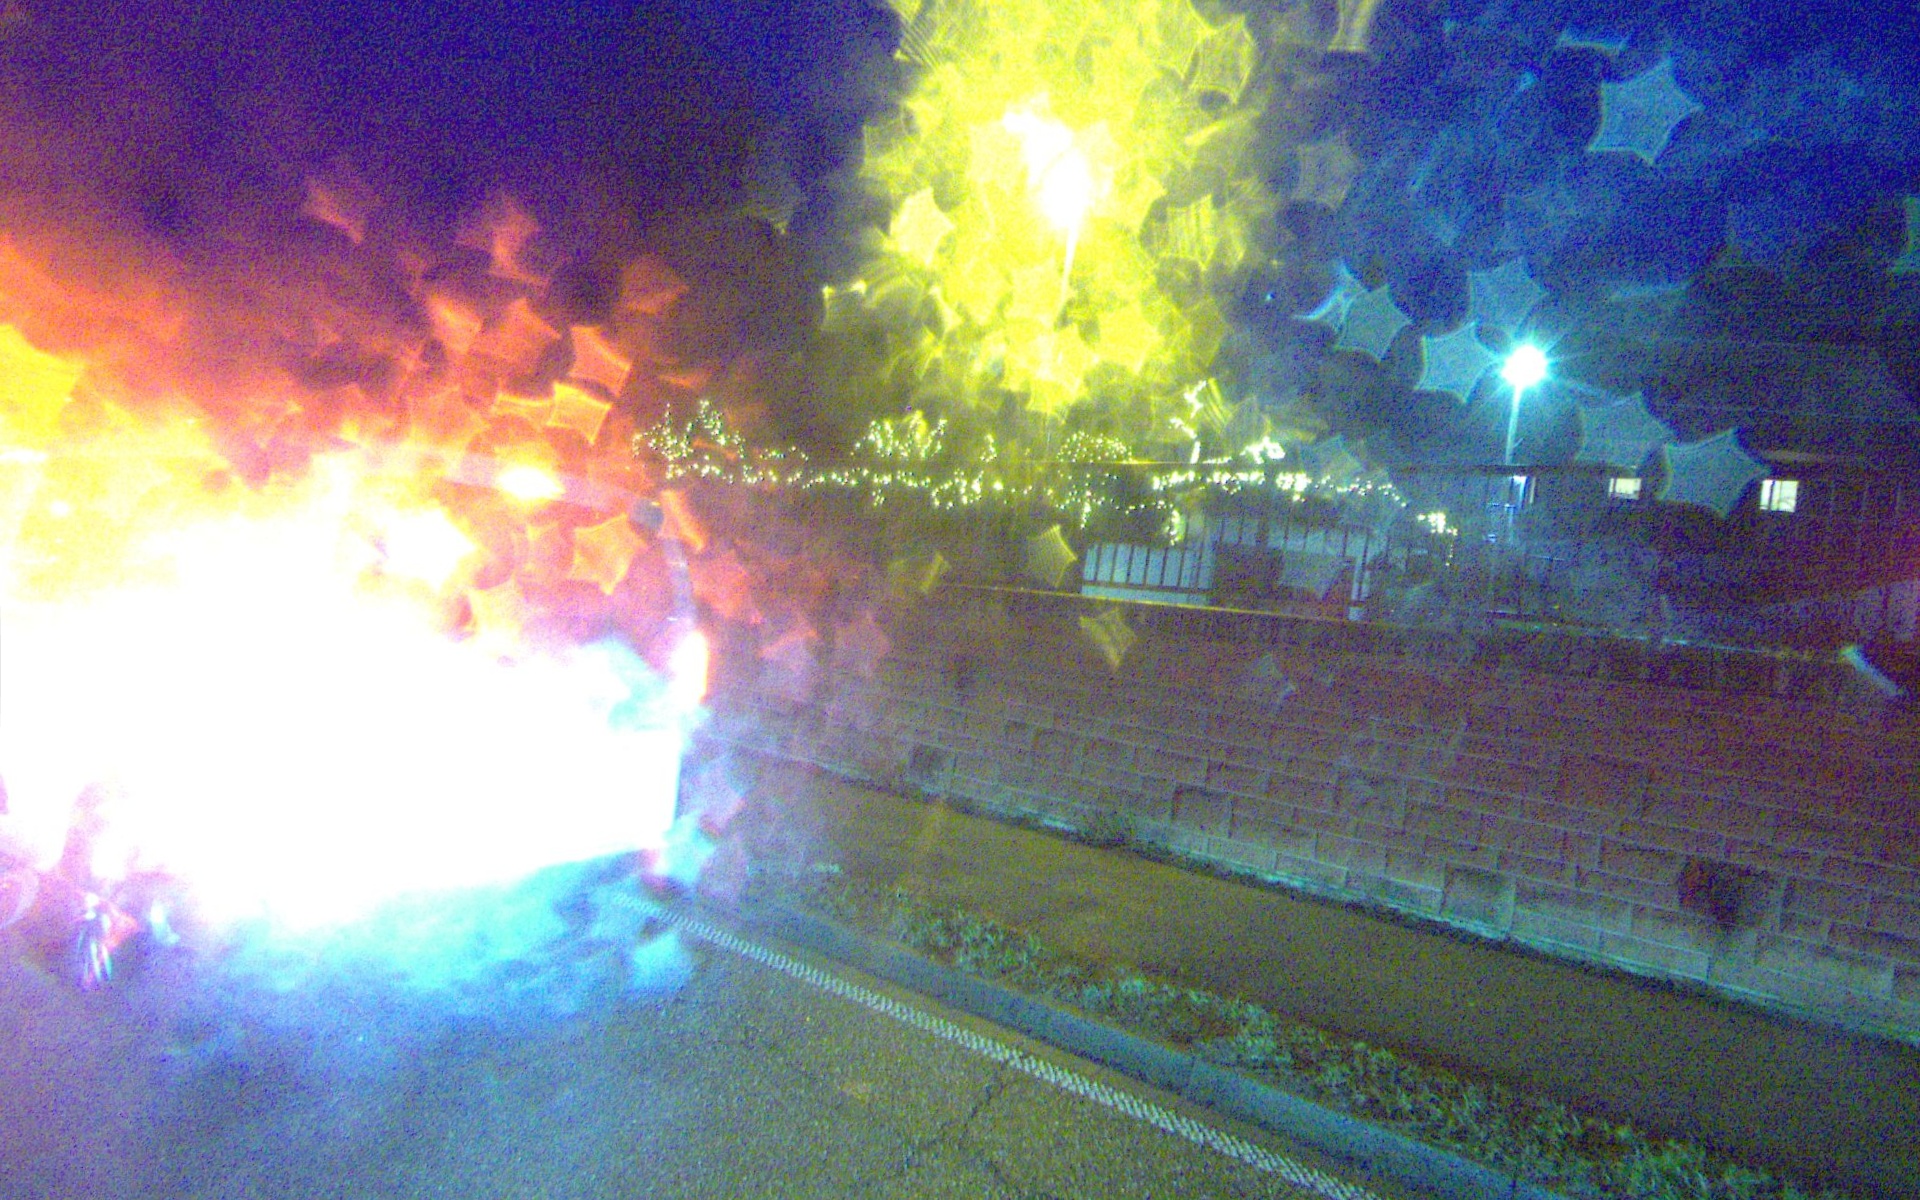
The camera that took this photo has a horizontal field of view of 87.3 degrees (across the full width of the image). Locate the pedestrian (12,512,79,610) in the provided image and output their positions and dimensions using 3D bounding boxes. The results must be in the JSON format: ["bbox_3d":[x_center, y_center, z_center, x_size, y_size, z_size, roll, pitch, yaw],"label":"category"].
[{"bbox_3d":[-17.081,-0.728,18.794,0.532,1.721,0.624,7,-1,29],"label":"pedestrian"}]

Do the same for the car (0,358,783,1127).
[{"bbox_3d":[-3.104,0.243,4.372,4.269,1.886,1.855,6,-2,32],"label":"car"}]

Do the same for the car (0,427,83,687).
[{"bbox_3d":[-9.671,-0.579,8.647,3.934,2.070,1.973,6,-2,32],"label":"car"}]
